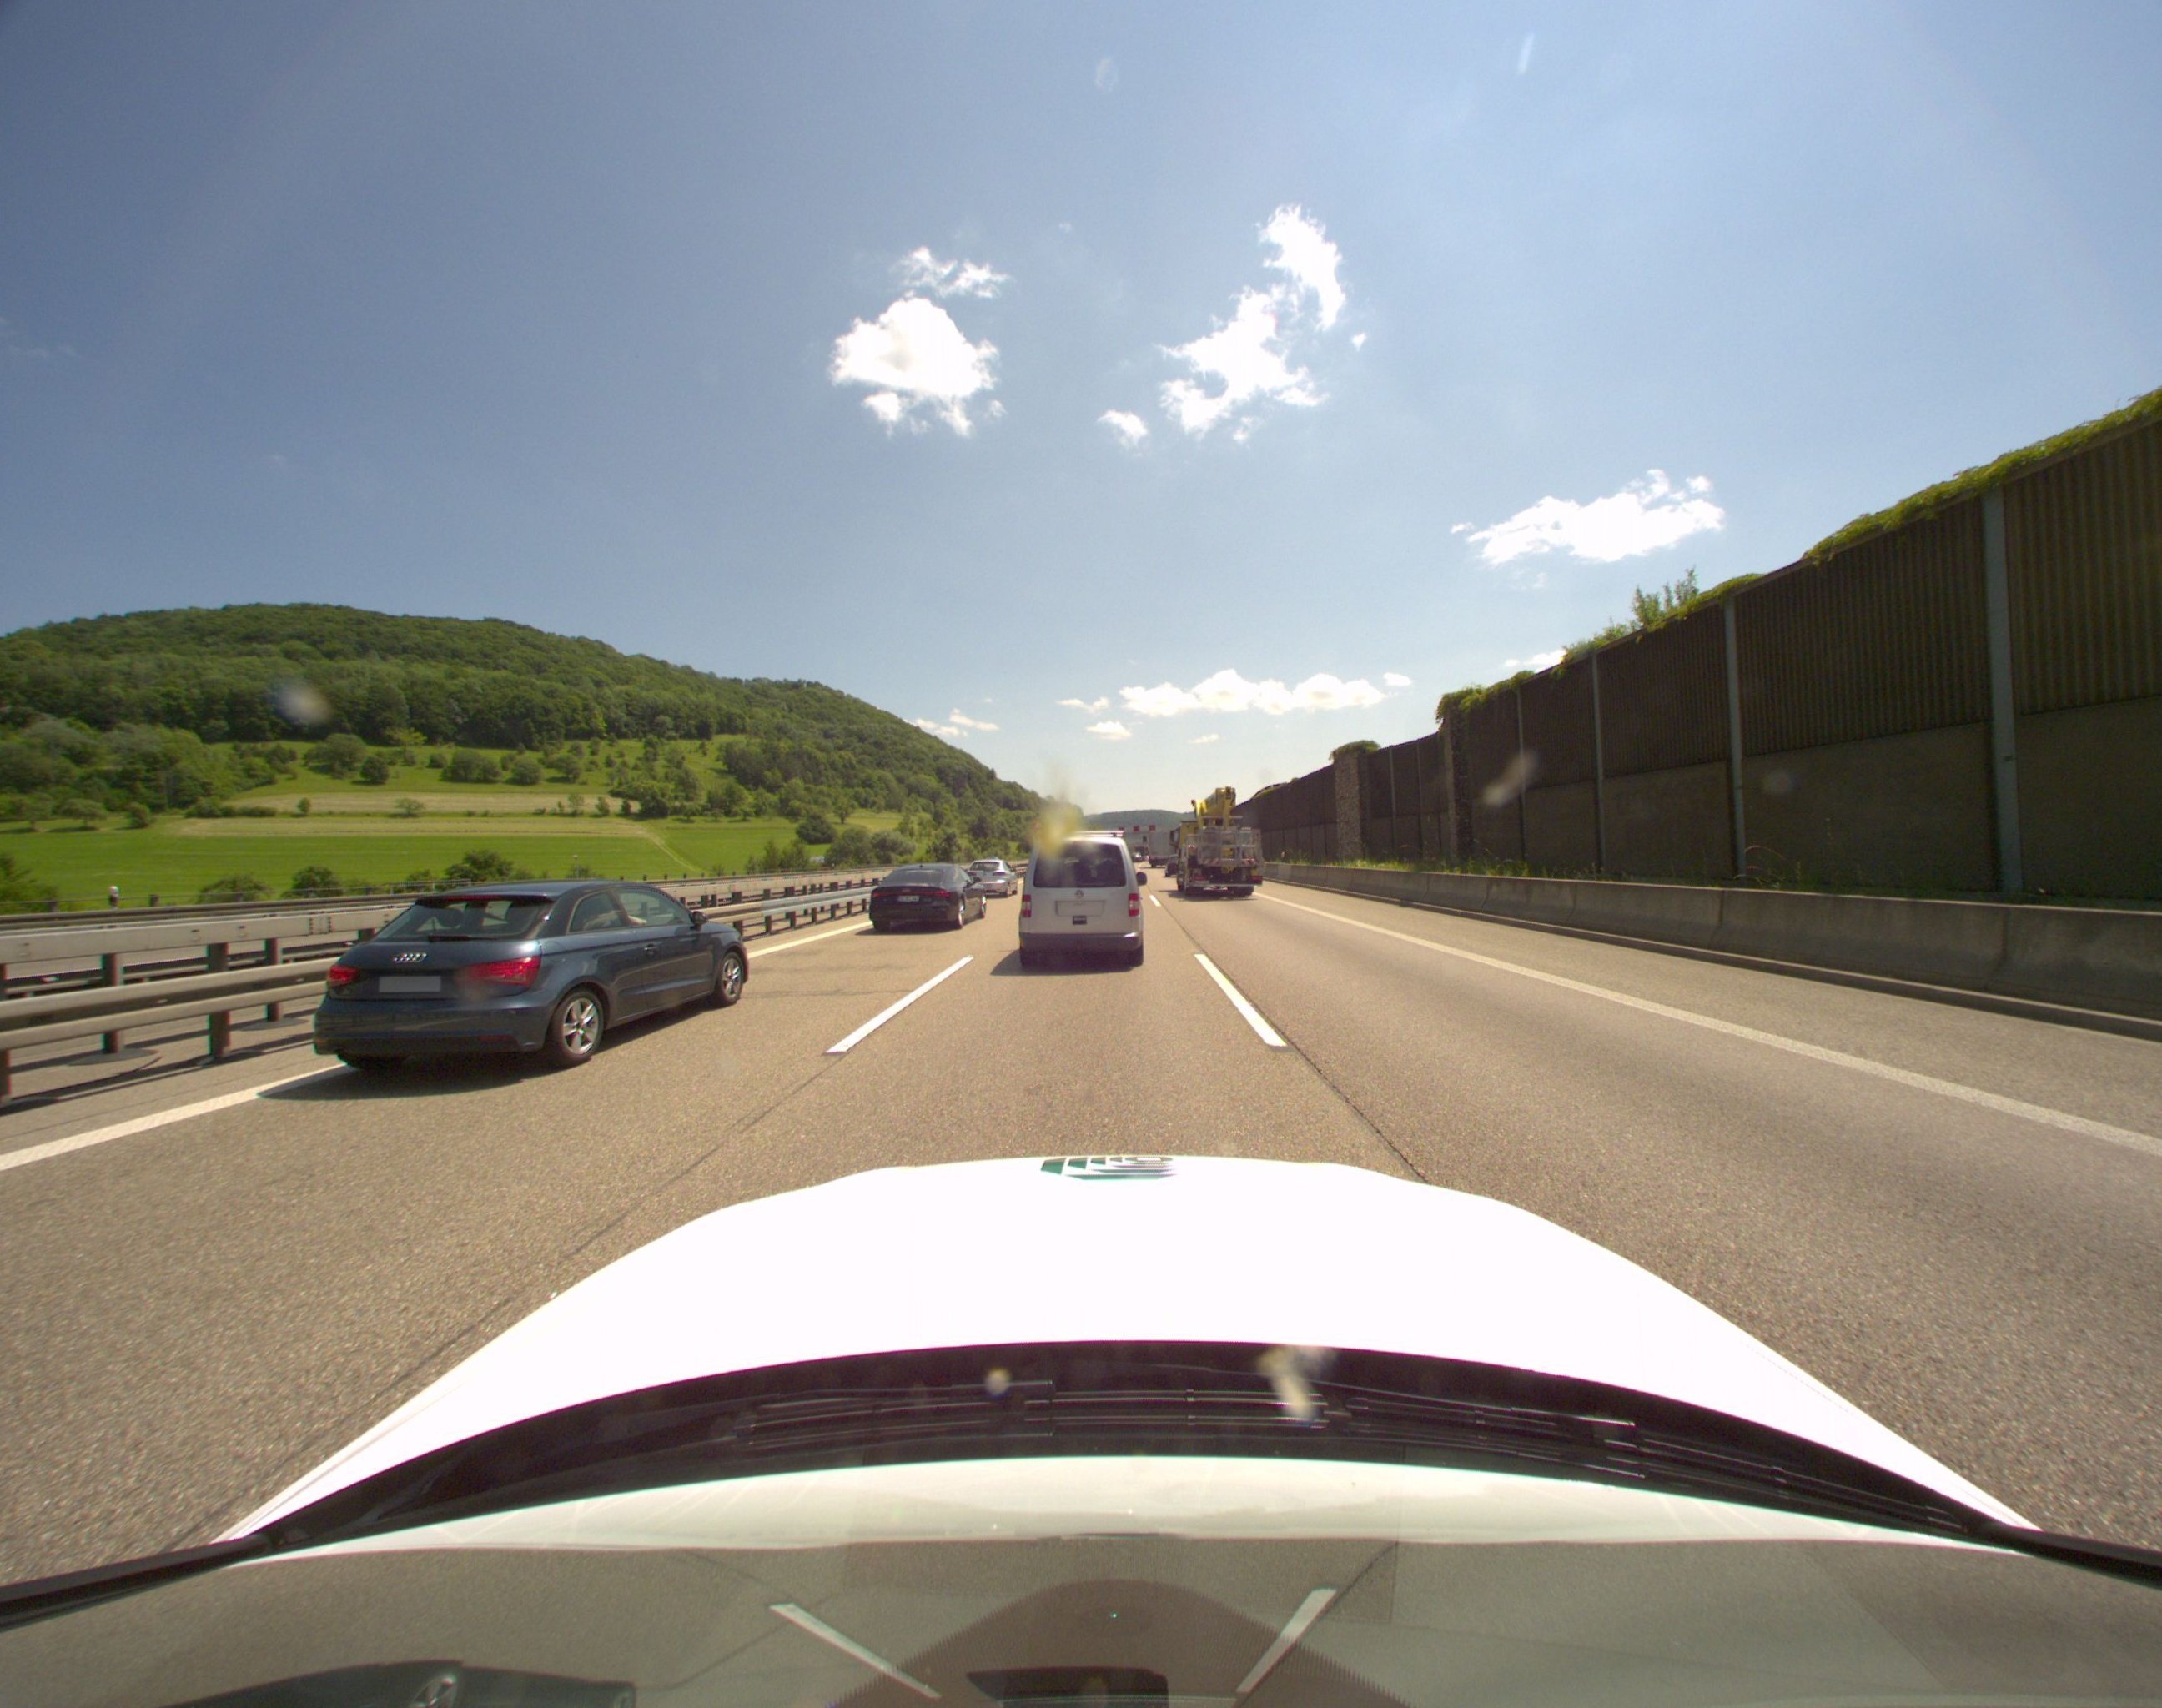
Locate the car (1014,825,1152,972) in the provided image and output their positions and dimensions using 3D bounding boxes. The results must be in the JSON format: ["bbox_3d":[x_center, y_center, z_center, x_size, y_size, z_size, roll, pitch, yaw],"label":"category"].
[{"bbox_3d":[-0.017,0.580,12.578,1.751,1.868,3.998,-1,0,-1],"label":"car"}]

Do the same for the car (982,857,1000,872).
[{"bbox_3d":[-12.371,1.436,112.221,1.986,2.013,4.001,-1,0,1],"label":"car"}]

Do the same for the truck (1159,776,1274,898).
[{"bbox_3d":[4.847,-0.553,30.982,2.696,3.942,8.716,-1,0,-1],"label":"truck"}]

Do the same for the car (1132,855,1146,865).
[{"bbox_3d":[10.791,1.147,151.227,2.108,1.828,3.997,0,-1,-2],"label":"car"}]

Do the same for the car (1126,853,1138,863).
[{"bbox_3d":[8.824,0.692,142.209,1.986,1.749,4.001,0,-1,1],"label":"car"}]

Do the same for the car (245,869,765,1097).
[{"bbox_3d":[-4.535,0.877,7.300,1.682,1.388,4.002,-1,0,2],"label":"car"}]

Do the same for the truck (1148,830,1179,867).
[{"bbox_3d":[8.864,-0.513,88.407,2.928,3.823,8.242,0,-1,3],"label":"truck"}]

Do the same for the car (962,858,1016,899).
[{"bbox_3d":[-3.494,0.897,31.438,1.691,1.445,3.860,-1,0,-1],"label":"car"}]

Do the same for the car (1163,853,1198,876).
[{"bbox_3d":[6.536,0.665,53.906,1.781,1.458,3.768,-1,0,-1],"label":"car"}]

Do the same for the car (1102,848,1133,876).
[{"bbox_3d":[2.625,0.561,59.821,1.988,1.975,3.998,-1,0,-1],"label":"car"}]

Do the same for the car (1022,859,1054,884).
[{"bbox_3d":[-2.669,1.087,51.217,1.919,1.499,3.998,-1,0,-1],"label":"car"}]

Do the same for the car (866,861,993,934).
[{"bbox_3d":[-3.317,0.895,18.837,1.794,1.390,4.972,-1,0,2],"label":"car"}]
